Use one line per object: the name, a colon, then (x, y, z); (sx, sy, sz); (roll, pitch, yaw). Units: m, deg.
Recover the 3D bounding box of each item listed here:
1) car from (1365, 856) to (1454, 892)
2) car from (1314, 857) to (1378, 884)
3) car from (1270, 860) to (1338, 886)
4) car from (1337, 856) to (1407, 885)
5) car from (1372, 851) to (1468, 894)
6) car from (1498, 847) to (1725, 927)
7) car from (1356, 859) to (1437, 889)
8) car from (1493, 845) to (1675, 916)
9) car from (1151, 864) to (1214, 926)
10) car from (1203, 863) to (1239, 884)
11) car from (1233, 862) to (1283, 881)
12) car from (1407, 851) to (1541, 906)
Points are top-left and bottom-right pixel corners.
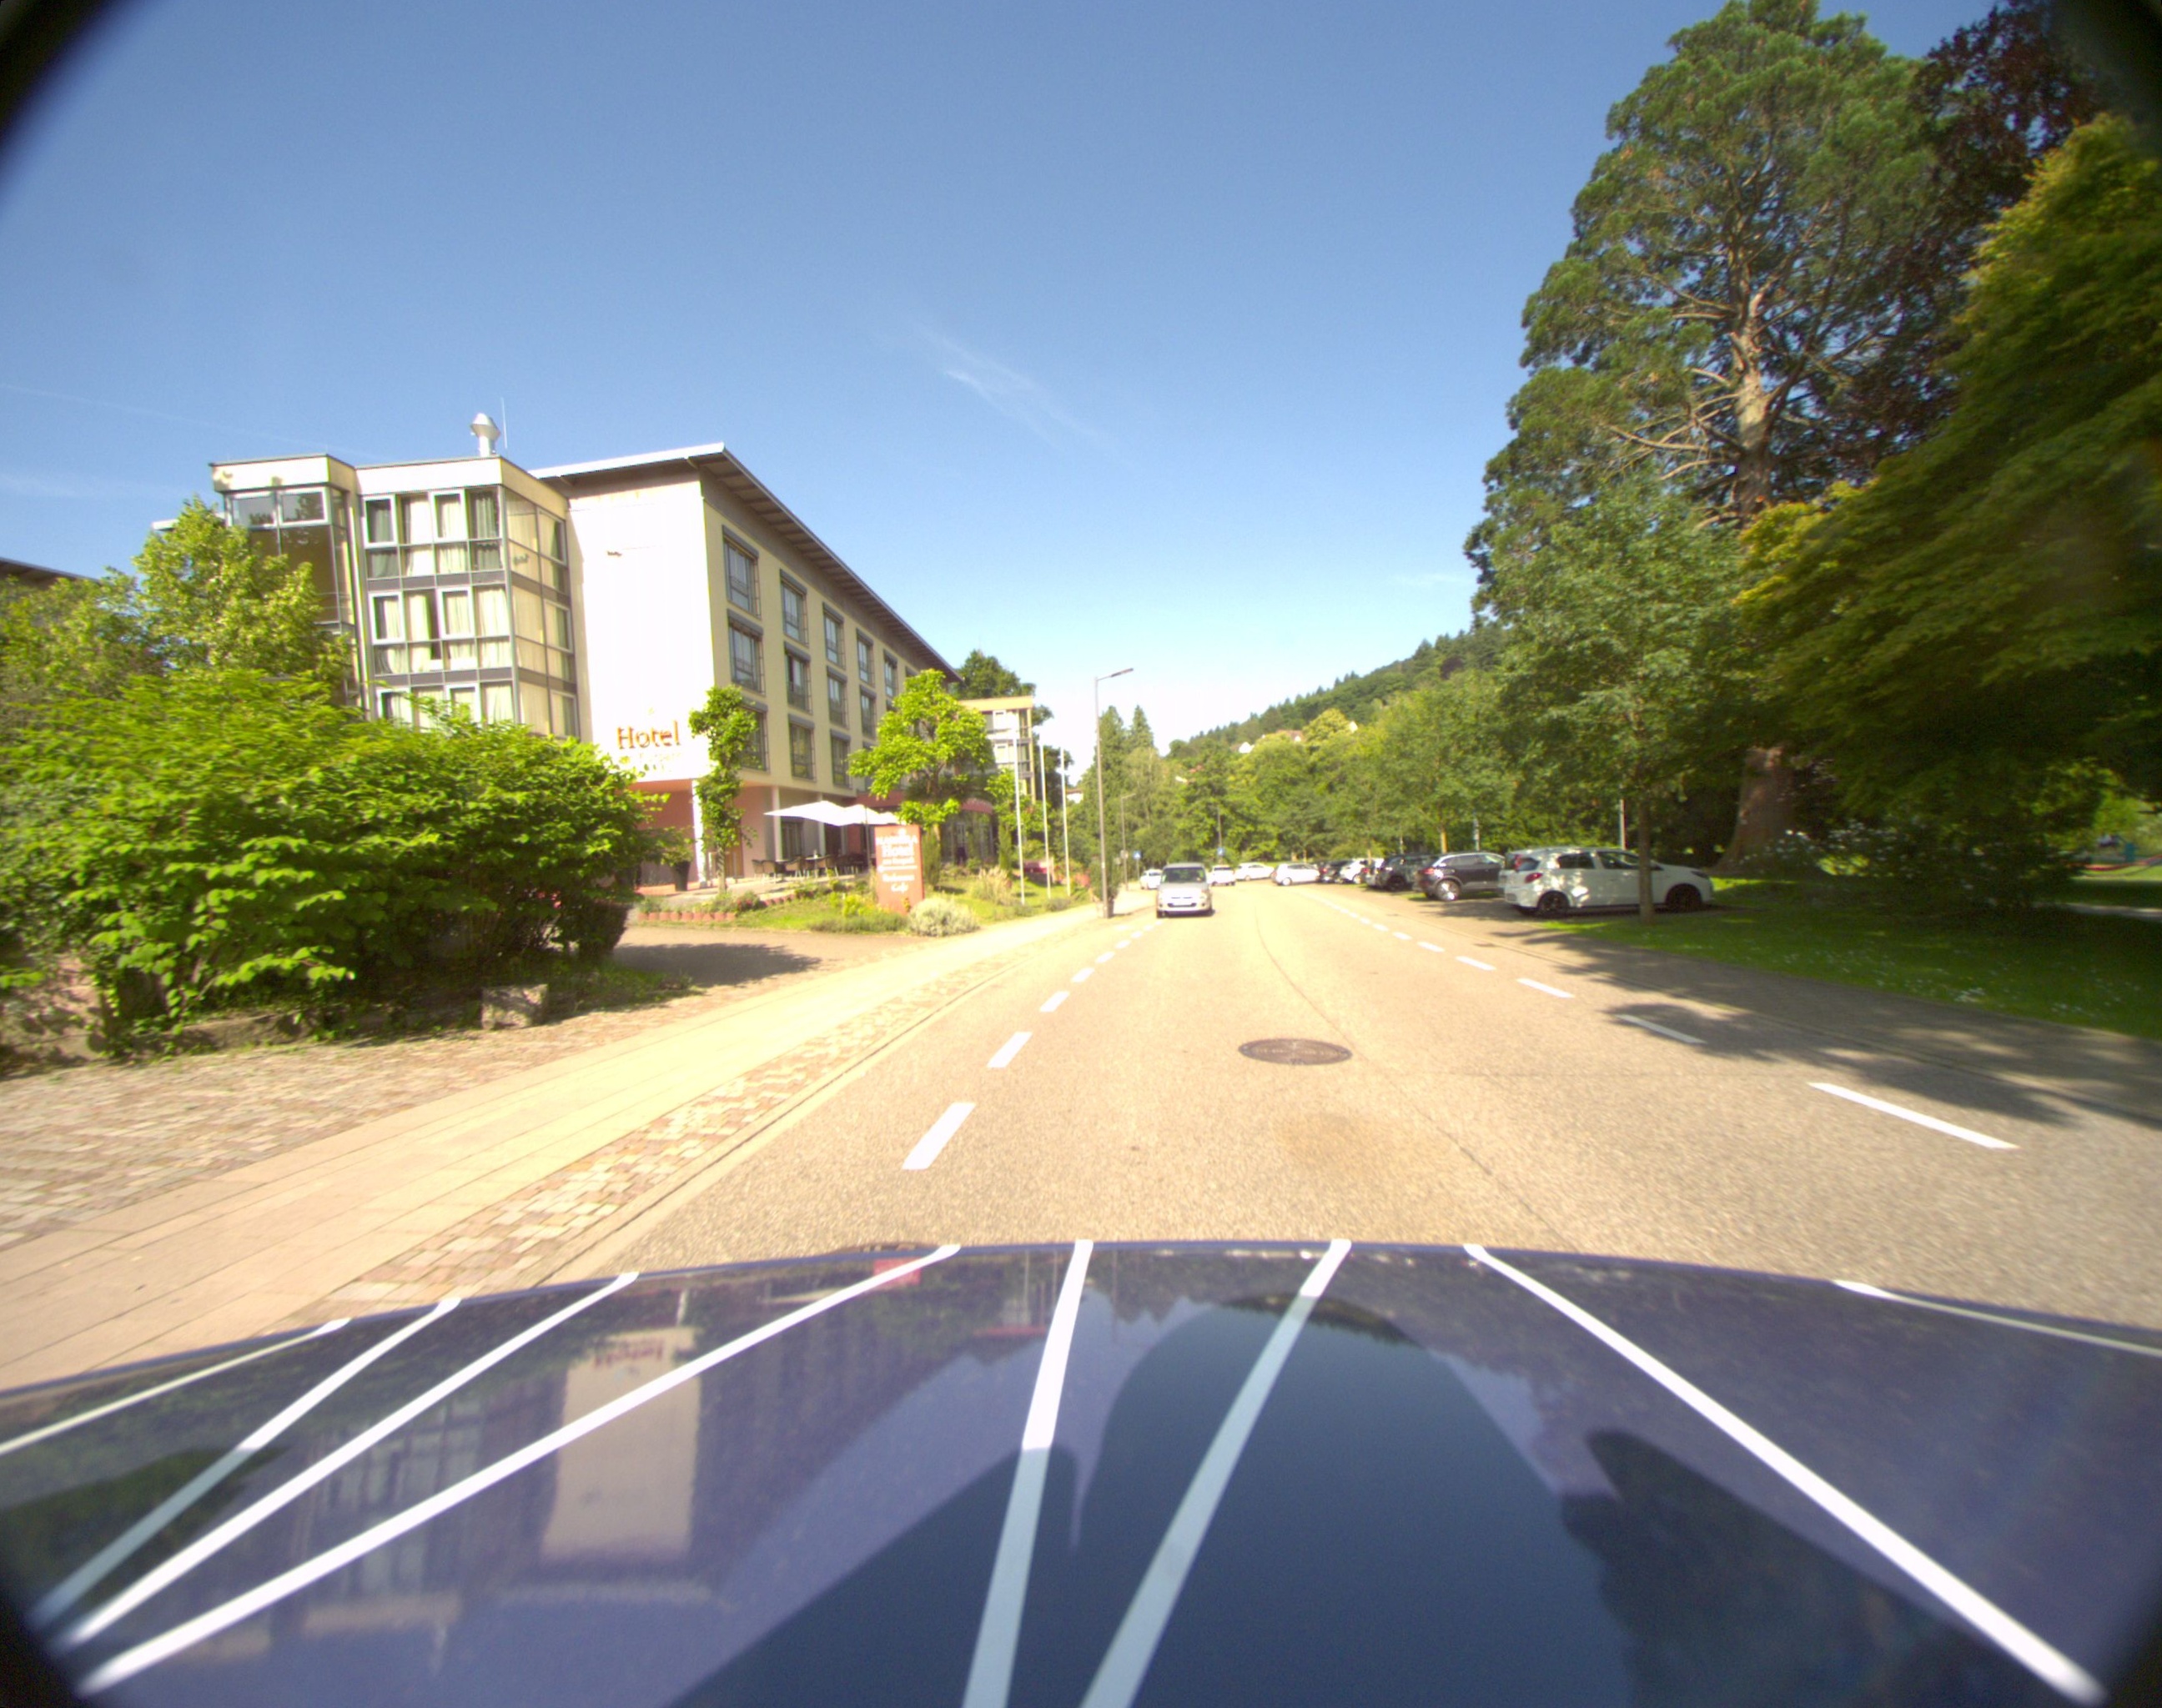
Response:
car: (15.351, 0.915, 35.669); (3.488, 1.417, 1.555); (-4, -1, 12)
car: (16.392, 1.039, 47.083); (3.488, 1.417, 1.555); (-4, -1, 12)
car: (14.787, 1.283, 50.558); (3.997, 1.389, 1.516); (-4, -1, 1)
car: (16.891, 0.966, 44.223); (3.488, 1.417, 1.555); (-4, -1, 12)
car: (14.626, 0.808, 32.957); (3.488, 1.610, 1.381); (-4, -1, 12)
car: (11.452, 0.718, 16.642); (3.683, 1.478, 1.567); (-4, -1, 12)
car: (15.873, 1.007, 38.371); (3.488, 1.293, 1.555); (-4, -1, 12)
car: (12.523, 0.666, 19.098); (3.488, 1.543, 1.381); (-4, -1, 12)
car: (3.217, 1.194, 23.520); (1.603, 1.628, 4.004); (-4, -1, 11)
car: (10.484, 1.480, 57.219); (1.775, 1.495, 3.999); (-1, -1, -3)
car: (15.792, 1.541, 67.862); (4.001, 1.468, 1.515); (-3, -1, -12)
car: (12.545, 0.788, 24.424); (3.488, 1.536, 1.445); (-4, -1, 12)
